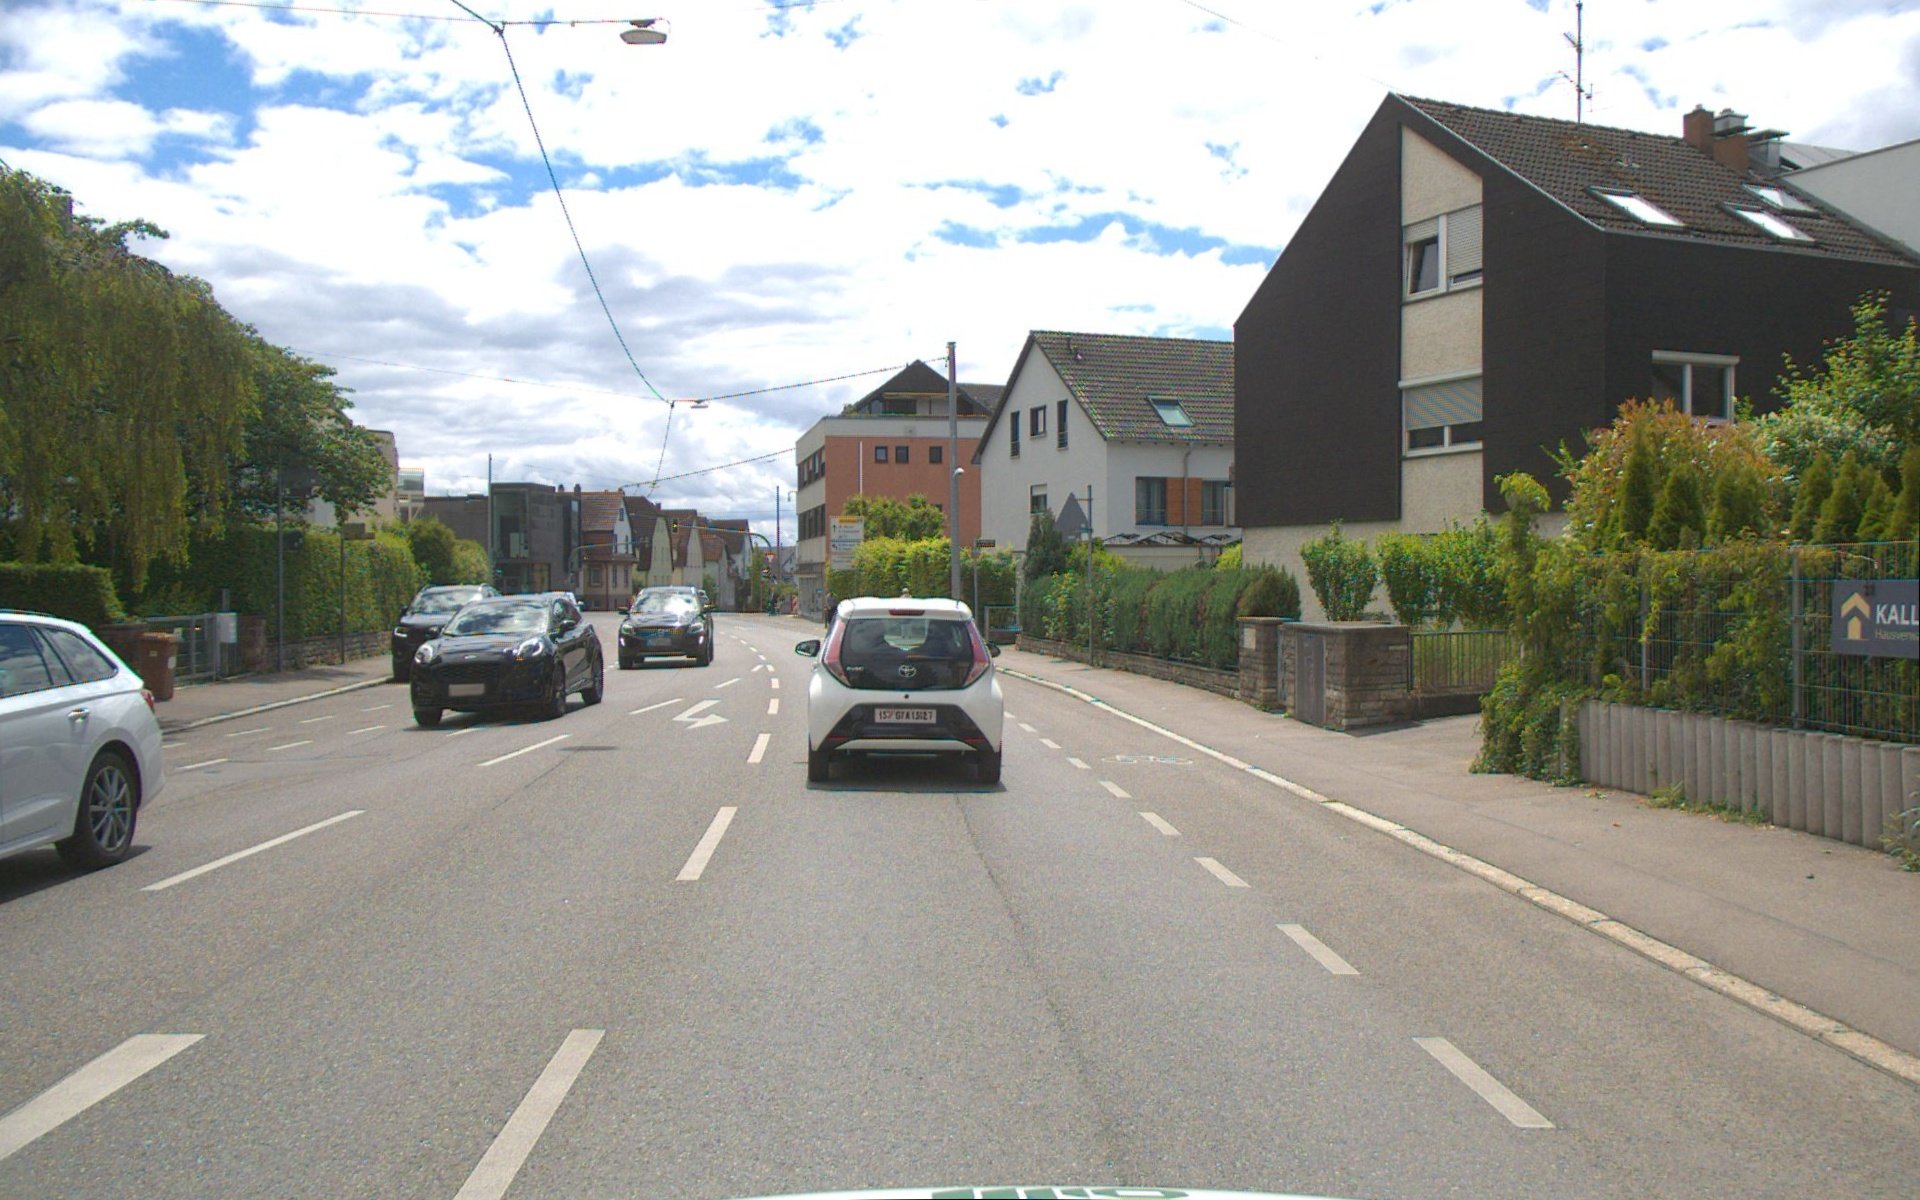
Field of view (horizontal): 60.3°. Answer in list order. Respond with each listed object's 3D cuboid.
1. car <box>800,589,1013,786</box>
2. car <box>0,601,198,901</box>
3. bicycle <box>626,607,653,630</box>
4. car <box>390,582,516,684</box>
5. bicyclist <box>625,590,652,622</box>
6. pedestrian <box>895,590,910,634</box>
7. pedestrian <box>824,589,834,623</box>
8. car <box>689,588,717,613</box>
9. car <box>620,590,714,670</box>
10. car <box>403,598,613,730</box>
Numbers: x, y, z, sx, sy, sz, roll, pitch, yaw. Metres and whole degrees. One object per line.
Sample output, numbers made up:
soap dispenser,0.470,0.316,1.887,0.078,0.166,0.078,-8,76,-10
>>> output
car,-0.598,0.686,14.843,1.590,1.512,3.994,0,0,-7
car,-5.577,0.788,7.961,1.739,1.455,4.521,-3,0,-1
bicycle,-14.445,0.843,74.450,1.095,0.953,3.776,-3,0,-12
car,-10.178,0.623,33.465,1.742,1.878,4.001,-2,0,-8
bicyclist,-14.447,0.252,74.361,1.095,1.359,1.627,-3,0,-12
pedestrian,-1.928,0.397,55.457,0.406,1.463,0.436,0,0,-13
pedestrian,-5.607,0.256,70.919,0.405,1.463,0.437,0,0,-9
car,-19.124,0.027,122.966,1.957,1.713,3.991,1,0,-9
car,-6.251,0.604,35.651,1.741,1.579,4.002,-2,0,-7
car,-5.752,0.750,21.529,1.740,1.455,4.006,-3,0,-3
